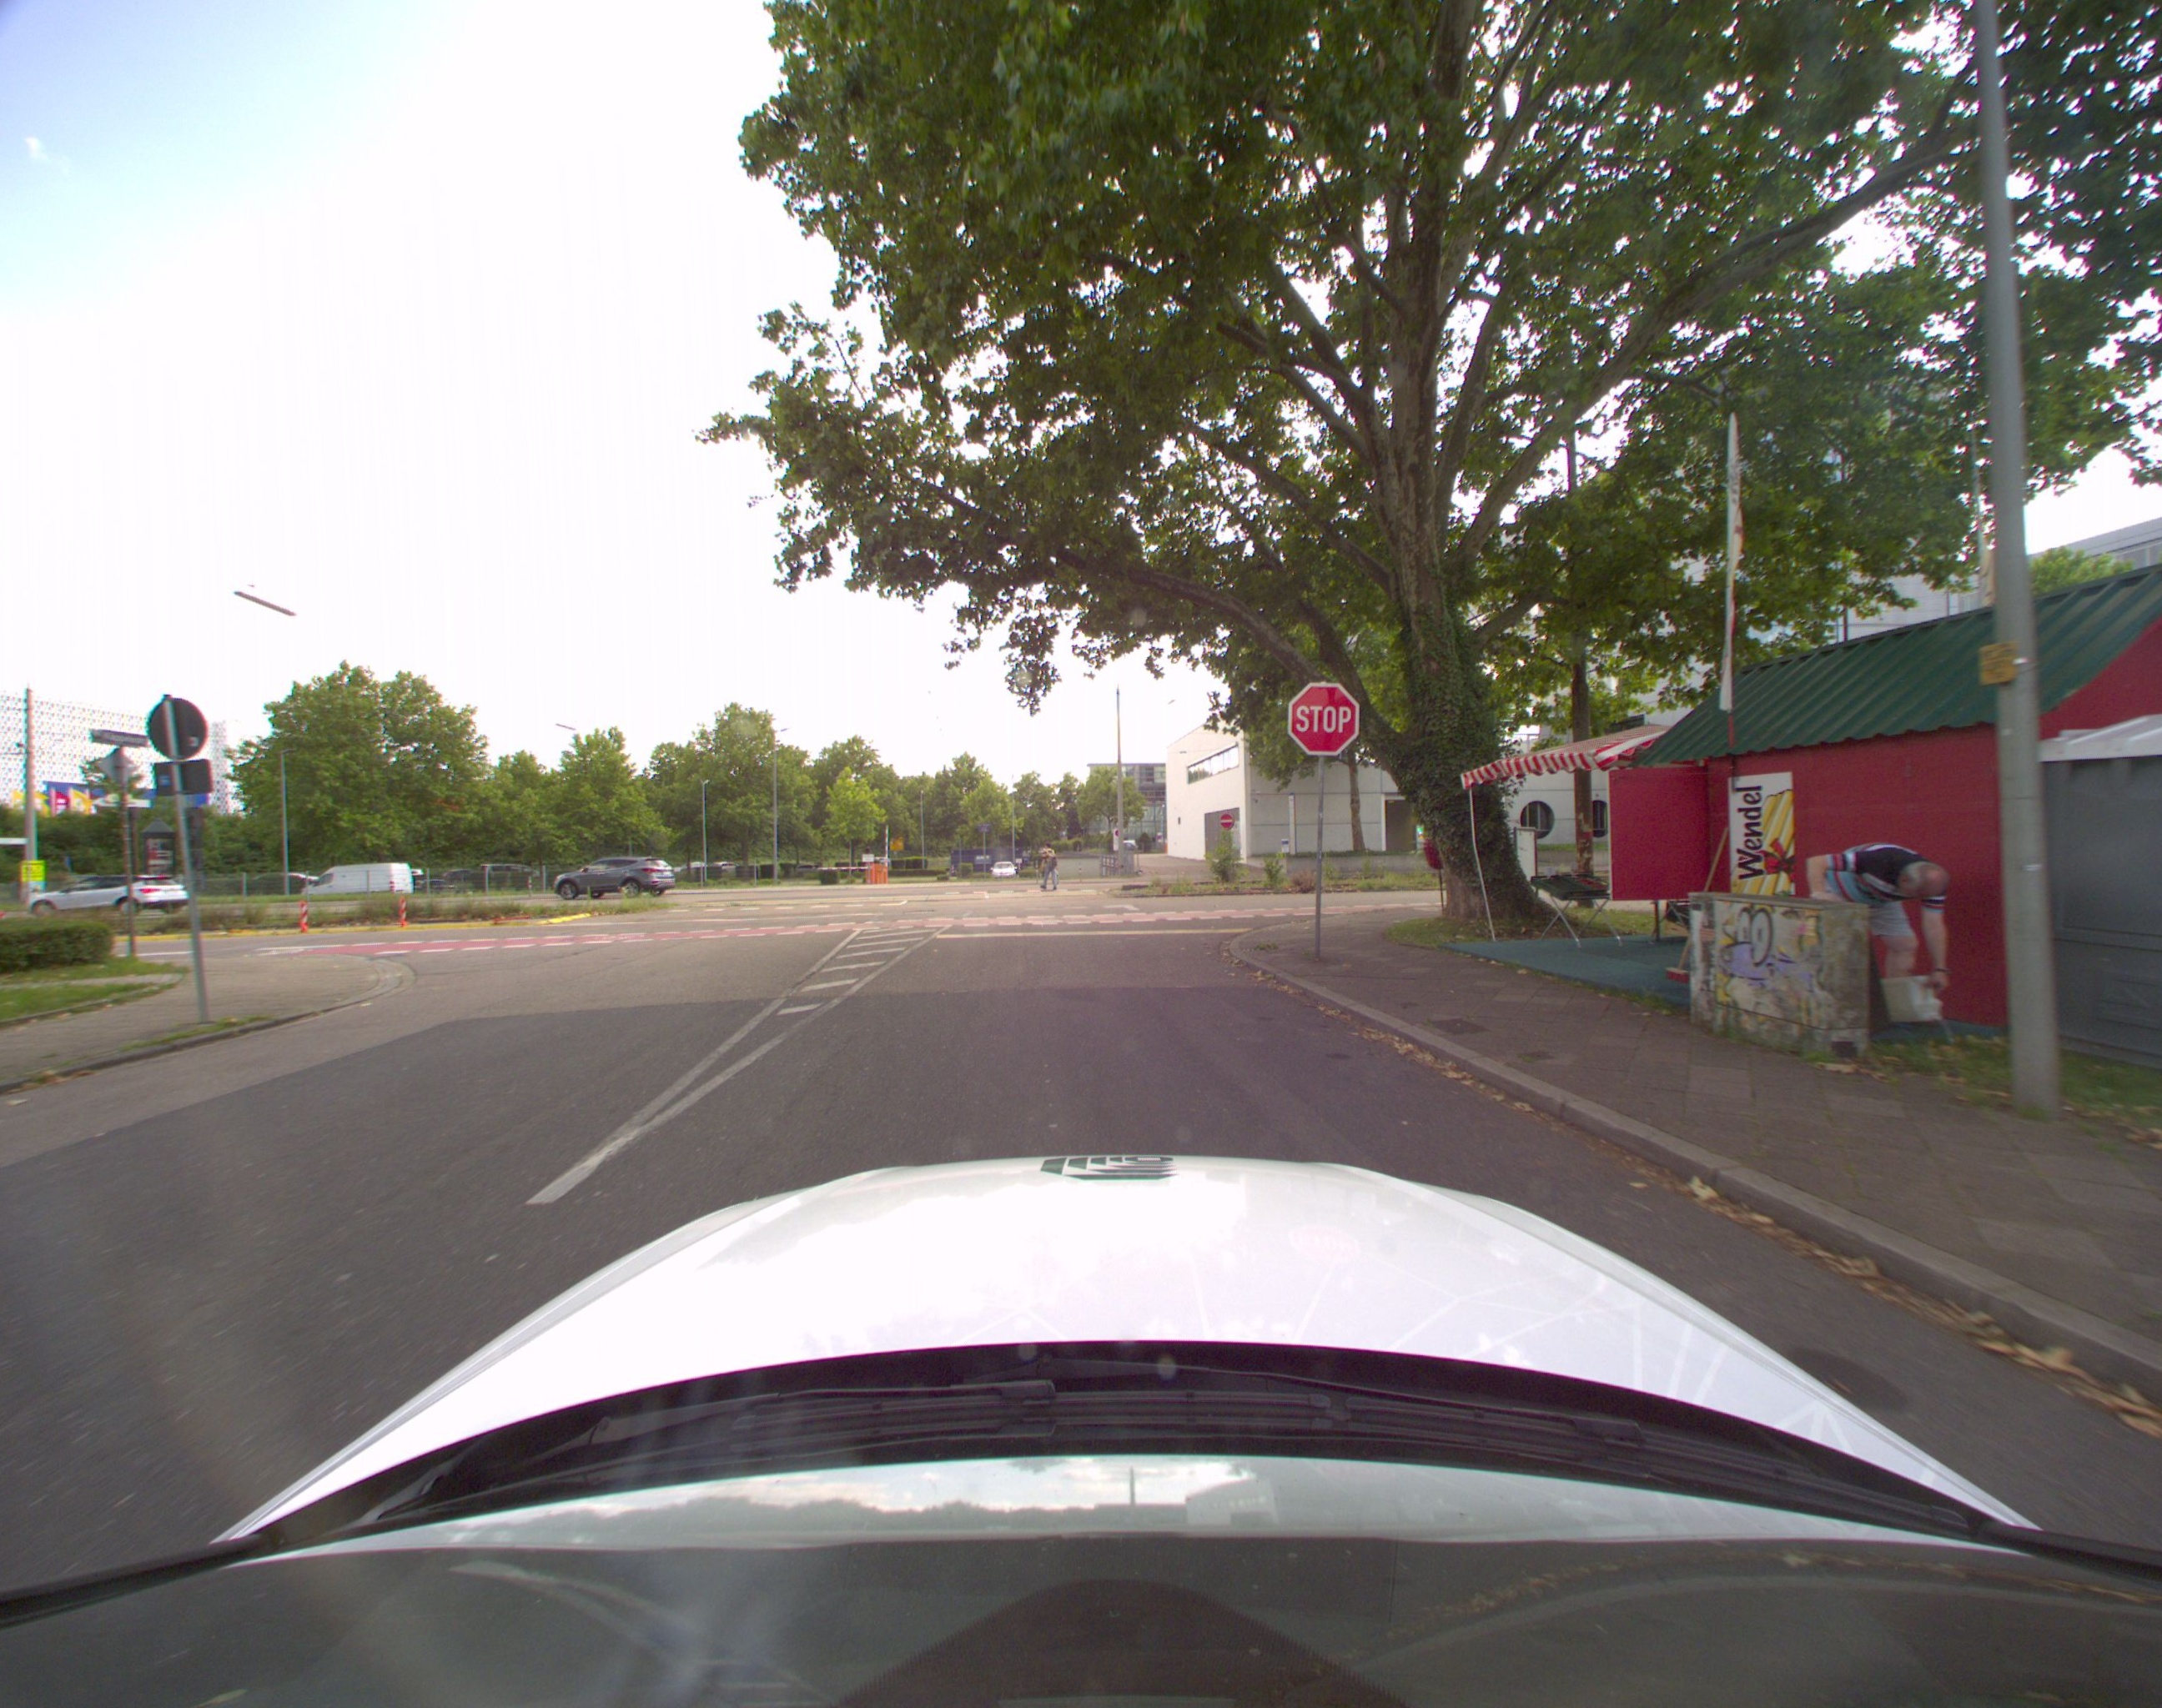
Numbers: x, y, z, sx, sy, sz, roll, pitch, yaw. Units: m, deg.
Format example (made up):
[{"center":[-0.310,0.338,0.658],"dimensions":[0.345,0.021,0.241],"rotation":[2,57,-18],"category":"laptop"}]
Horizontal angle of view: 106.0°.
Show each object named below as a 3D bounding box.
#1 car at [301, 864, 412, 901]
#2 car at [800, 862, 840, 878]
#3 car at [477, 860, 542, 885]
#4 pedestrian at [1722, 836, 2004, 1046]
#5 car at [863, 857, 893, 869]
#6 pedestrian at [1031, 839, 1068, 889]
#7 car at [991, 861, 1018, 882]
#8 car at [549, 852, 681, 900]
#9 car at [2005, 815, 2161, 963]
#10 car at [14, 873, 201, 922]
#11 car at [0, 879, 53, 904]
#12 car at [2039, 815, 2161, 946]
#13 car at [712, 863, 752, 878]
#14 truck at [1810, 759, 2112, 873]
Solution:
[{"center":[-47.829,1.845,53.890],"dimensions":[5.285,2.211,1.792],"rotation":[-2,0,-10],"category":"car"},{"center":[-28.816,1.741,89.947],"dimensions":[3.950,1.701,1.921],"rotation":[-1,0,26],"category":"car"},{"center":[-53.391,1.702,76.141],"dimensions":[1.838,2.135,4.596],"rotation":[-1,0,26],"category":"car"},{"center":[5.316,0.550,5.626],"dimensions":[1.010,1.314,0.965],"rotation":[-1,0,2],"category":"pedestrian"},{"center":[-30.520,1.290,122.634],"dimensions":[1.896,1.721,4.326],"rotation":[-1,0,27],"category":"car"},{"center":[-1.193,0.384,30.934],"dimensions":[1.005,1.849,1.220],"rotation":[-1,0,-24],"category":"pedestrian"},{"center":[-5.701,1.302,61.215],"dimensions":[1.928,1.403,4.074],"rotation":[-2,0,-5],"category":"car"},{"center":[-19.188,0.868,33.685],"dimensions":[4.246,1.815,1.969],"rotation":[-1,0,1],"category":"car"},{"center":[11.889,0.342,7.689],"dimensions":[1.735,1.512,3.997],"rotation":[-1,0,-2],"category":"car"},{"center":[-36.088,1.596,30.305],"dimensions":[4.217,1.579,1.919],"rotation":[-1,1,-8],"category":"car"},{"center":[-73.945,2.588,55.829],"dimensions":[1.851,1.557,4.025],"rotation":[-1,0,30],"category":"car"},{"center":[14.098,0.304,9.141],"dimensions":[1.742,1.568,3.980],"rotation":[-1,0,-15],"category":"car"},{"center":[-43.035,1.999,100.587],"dimensions":[1.896,1.721,4.326],"rotation":[-1,0,27],"category":"car"},{"center":[32.818,-1.421,30.489],"dimensions":[9.509,3.896,2.792],"rotation":[-2,0,-9],"category":"truck"}]
